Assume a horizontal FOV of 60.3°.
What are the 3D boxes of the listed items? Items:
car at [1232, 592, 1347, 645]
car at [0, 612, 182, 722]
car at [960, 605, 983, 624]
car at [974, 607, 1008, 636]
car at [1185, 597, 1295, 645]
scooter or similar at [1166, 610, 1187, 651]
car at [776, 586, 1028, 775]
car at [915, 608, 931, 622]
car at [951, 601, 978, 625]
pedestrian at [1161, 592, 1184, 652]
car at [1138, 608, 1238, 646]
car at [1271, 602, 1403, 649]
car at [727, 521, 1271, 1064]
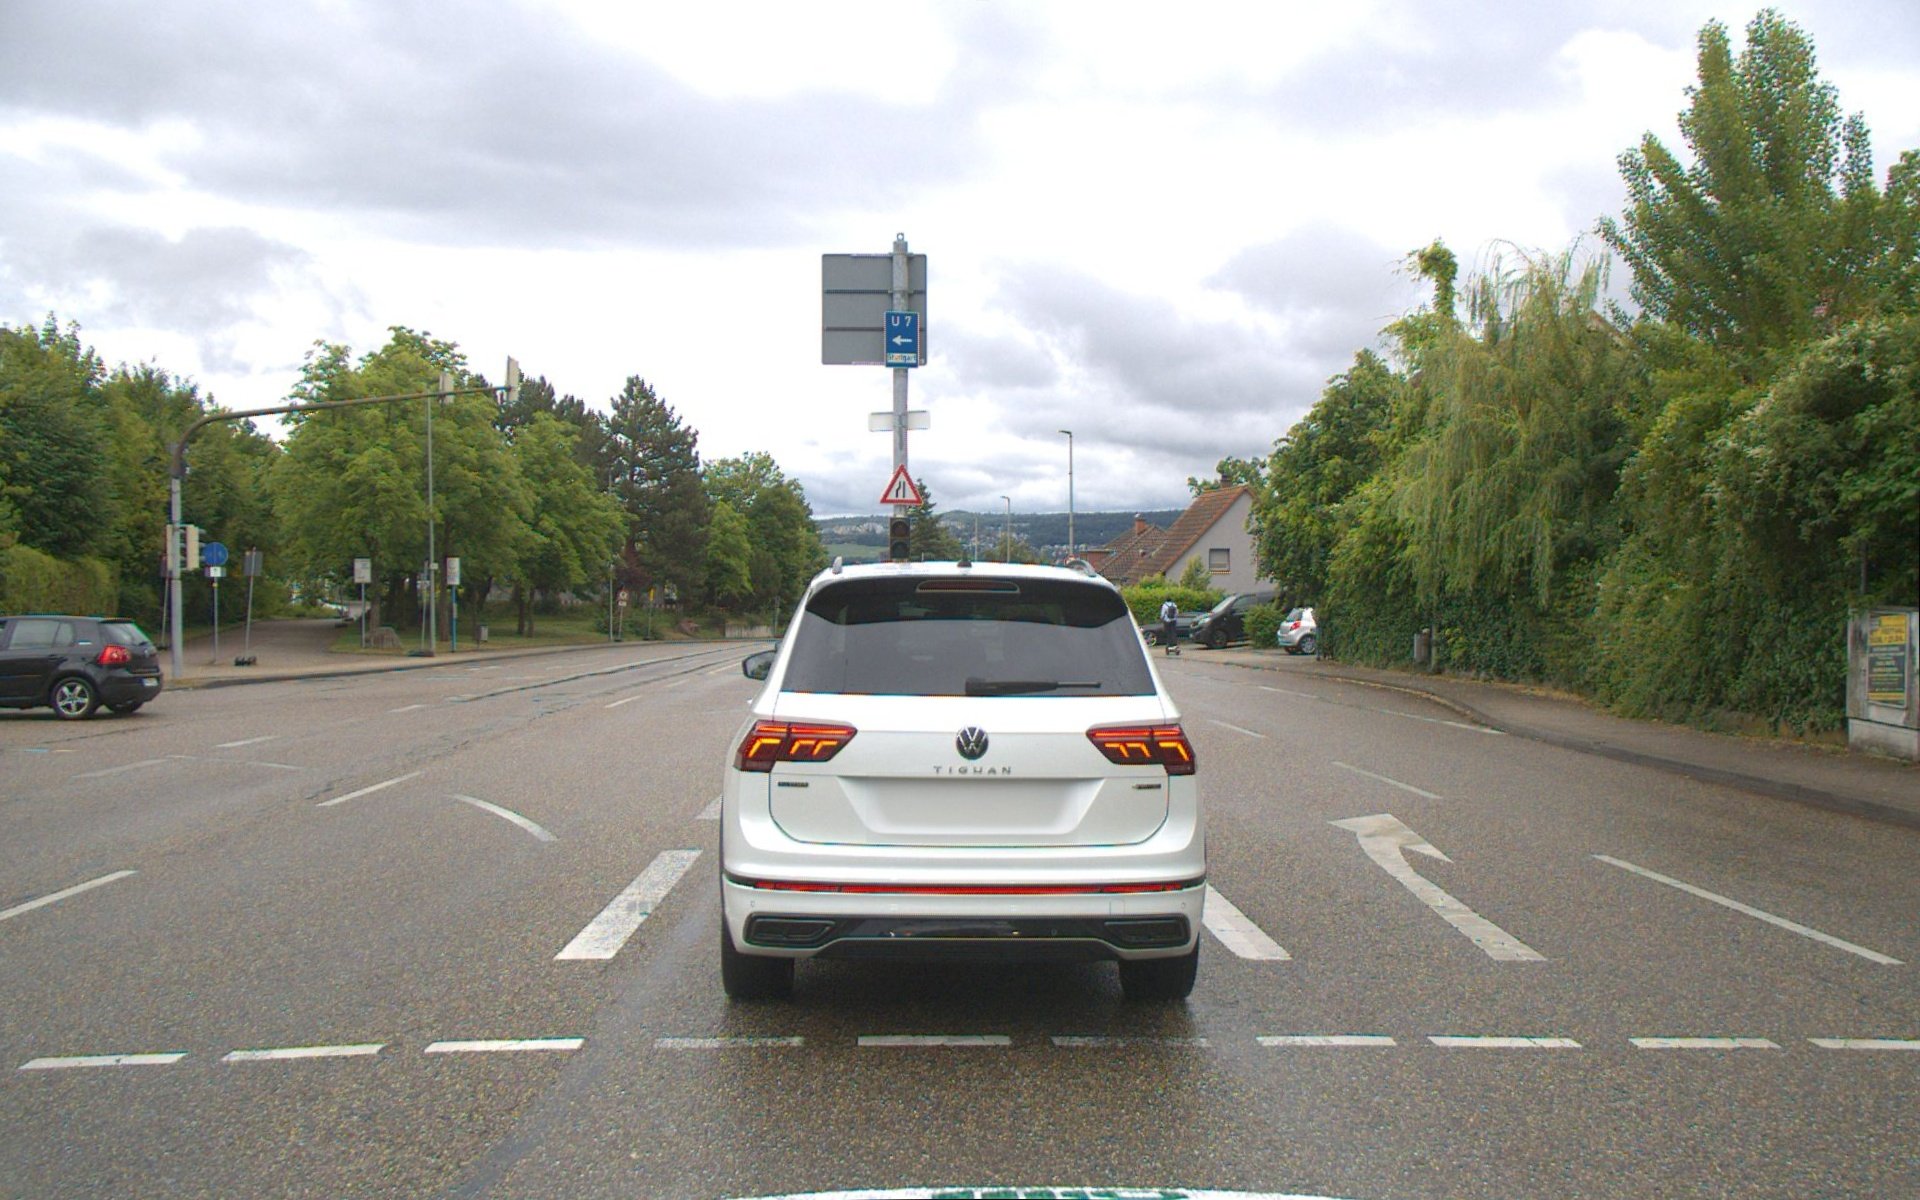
[{"bbox_3d":[11.348,0.638,57.041,3.556,1.777,1.706,0,0,-5],"label":"car"},{"bbox_3d":[-13.635,0.946,23.941,3.910,1.505,1.764,0,0,-6],"label":"car"},{"bbox_3d":[0.949,1.202,140.189,1.813,1.602,3.999,0,0,-1],"label":"car"},{"bbox_3d":[1.808,1.265,96.763,1.813,1.602,3.999,1,0,-1],"label":"car"},{"bbox_3d":[10.036,0.742,59.388,3.556,1.655,1.789,0,0,-5],"label":"car"},{"bbox_3d":[7.371,1.030,56.393,0.452,1.385,1.383,0,0,-4],"label":"scooter or similar"},{"bbox_3d":[-0.698,0.685,16.264,1.768,1.617,3.913,0,0,-13],"label":"car"},{"bbox_3d":[-4.399,1.808,196.778,1.813,1.602,3.999,0,0,-1],"label":"car"},{"bbox_3d":[0.312,0.870,115.188,1.813,1.602,3.999,0,0,-1],"label":"car"},{"bbox_3d":[7.237,0.747,56.304,0.642,2.037,0.717,0,0,-5],"label":"pedestrian"},{"bbox_3d":[8.810,1.066,64.091,3.614,1.394,1.518,1,-2,-3],"label":"car"},{"bbox_3d":[11.747,0.808,51.643,3.644,1.420,1.725,0,-1,-8],"label":"car"},{"bbox_3d":[0.066,0.616,7.430,1.727,1.725,4.271,1,0,-2],"label":"car"}]
